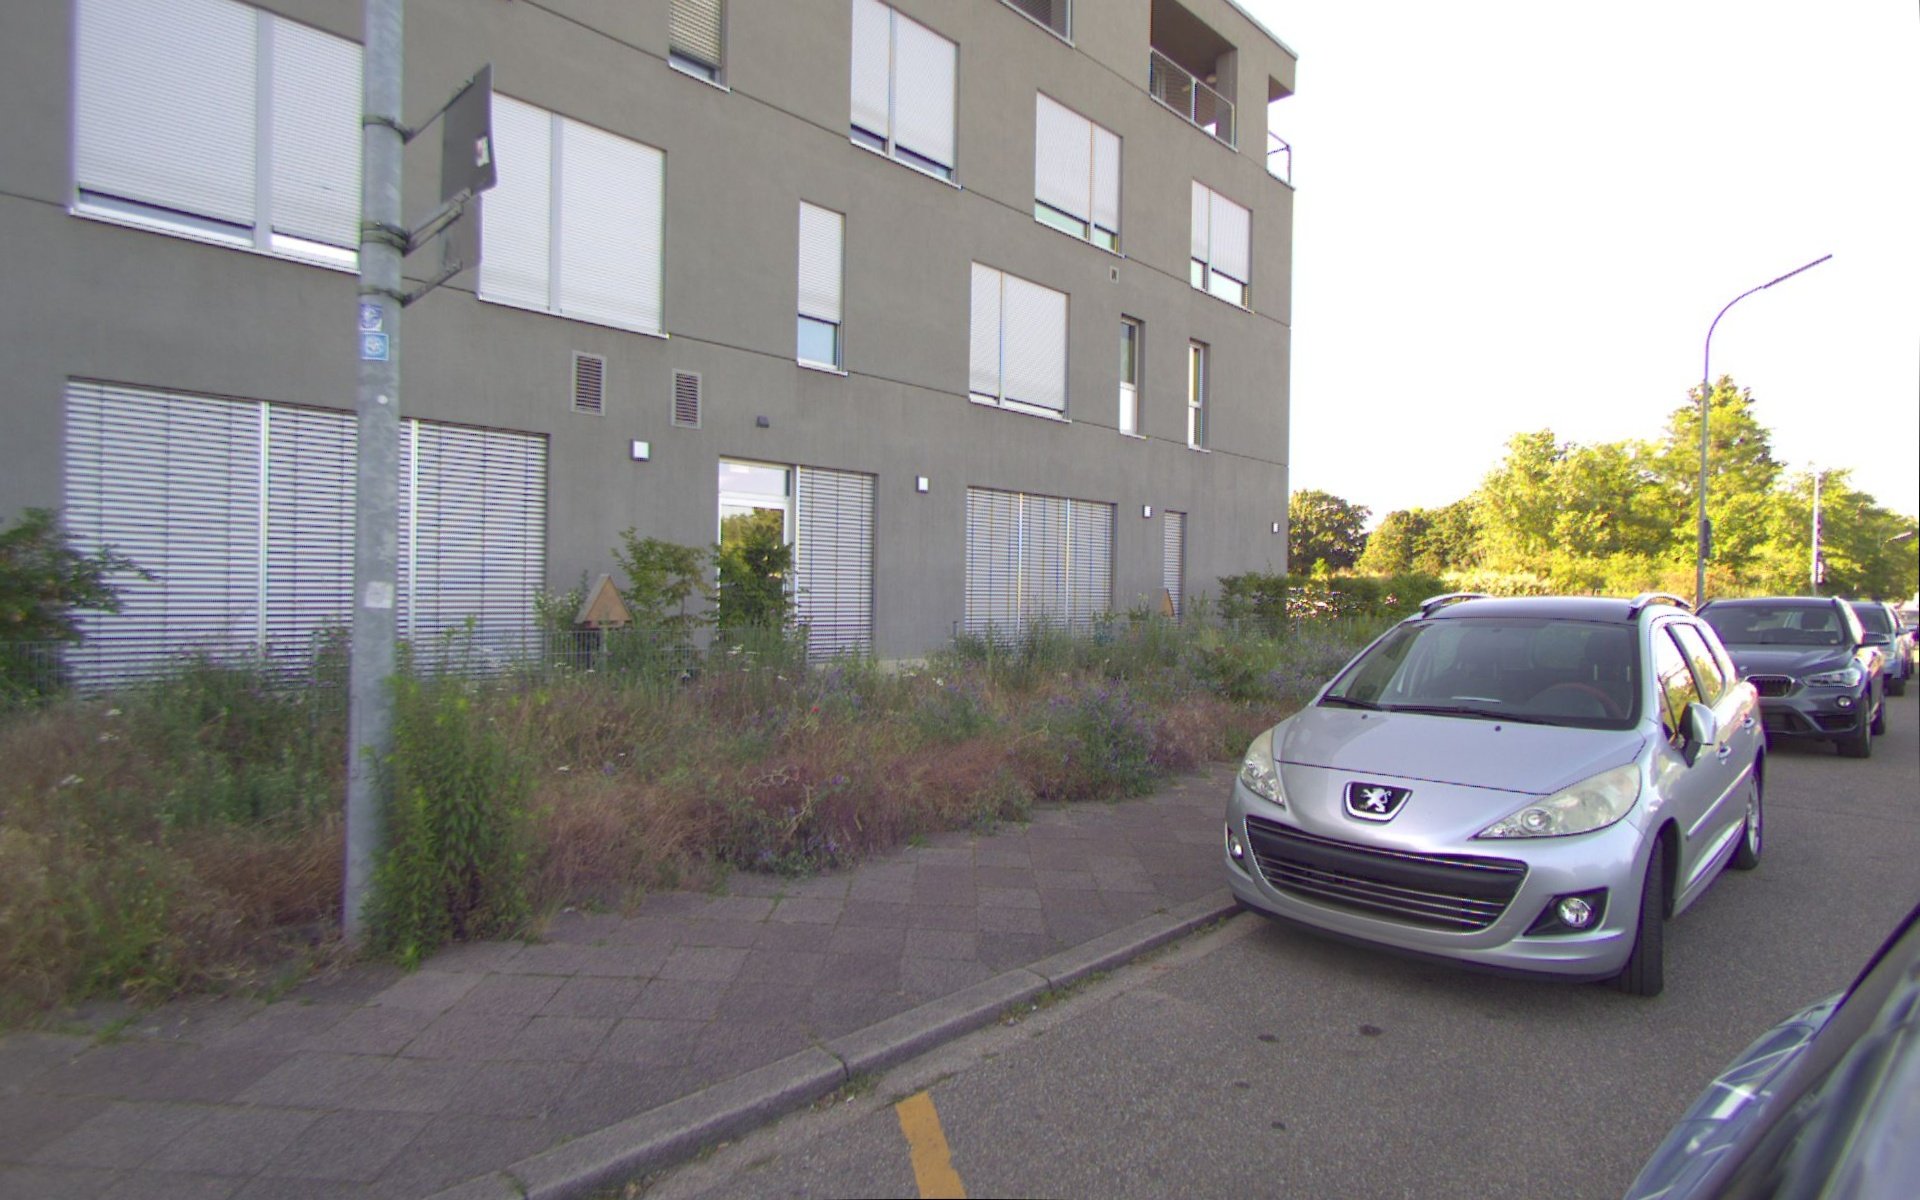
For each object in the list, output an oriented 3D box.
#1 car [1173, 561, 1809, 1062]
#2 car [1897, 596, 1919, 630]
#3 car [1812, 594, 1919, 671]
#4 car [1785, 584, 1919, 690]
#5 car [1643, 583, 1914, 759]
[{"bbox_3d":[2.970,0.652,5.181,4.086,1.546,1.708,0,0,-44],"label":"car"},{"bbox_3d":[44.651,0.587,46.680,4.086,1.545,1.870,0,1,-44],"label":"car"},{"bbox_3d":[19.873,0.675,22.028,3.042,1.546,1.707,0,-1,-44],"label":"car"},{"bbox_3d":[16.529,0.614,18.628,1.706,1.727,4.281,-2,-1,44],"label":"car"},{"bbox_3d":[9.363,0.646,11.414,4.722,1.587,1.746,0,-1,-43],"label":"car"}]
